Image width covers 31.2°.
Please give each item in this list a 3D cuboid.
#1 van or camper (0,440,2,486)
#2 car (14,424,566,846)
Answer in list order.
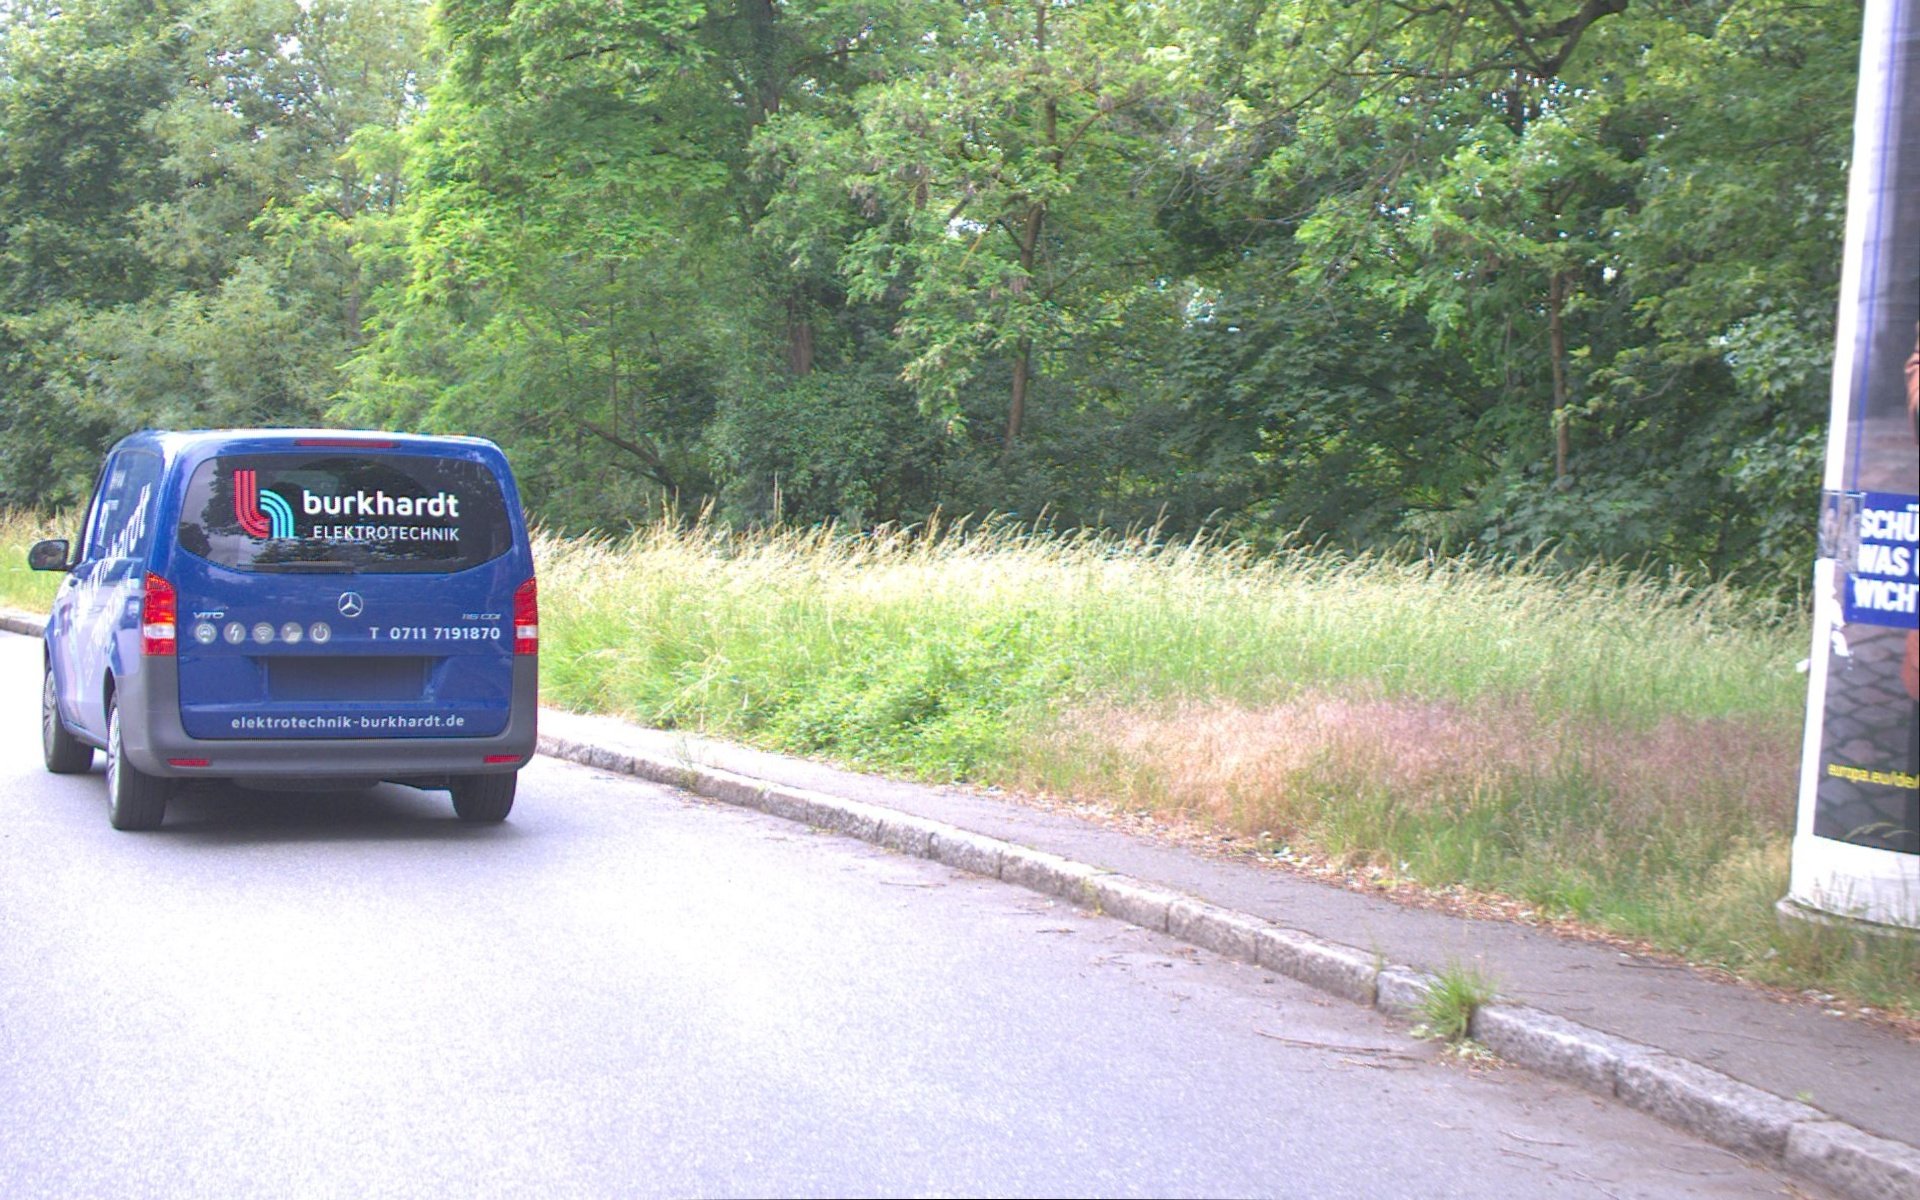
[{"bbox_3d":[-11.518,-0.787,35.646,2.019,1.950,4.898,2,2,-27],"label":"van or camper"},{"bbox_3d":[-3.492,0.073,17.224,1.913,1.831,4.295,1,2,-22],"label":"car"}]
